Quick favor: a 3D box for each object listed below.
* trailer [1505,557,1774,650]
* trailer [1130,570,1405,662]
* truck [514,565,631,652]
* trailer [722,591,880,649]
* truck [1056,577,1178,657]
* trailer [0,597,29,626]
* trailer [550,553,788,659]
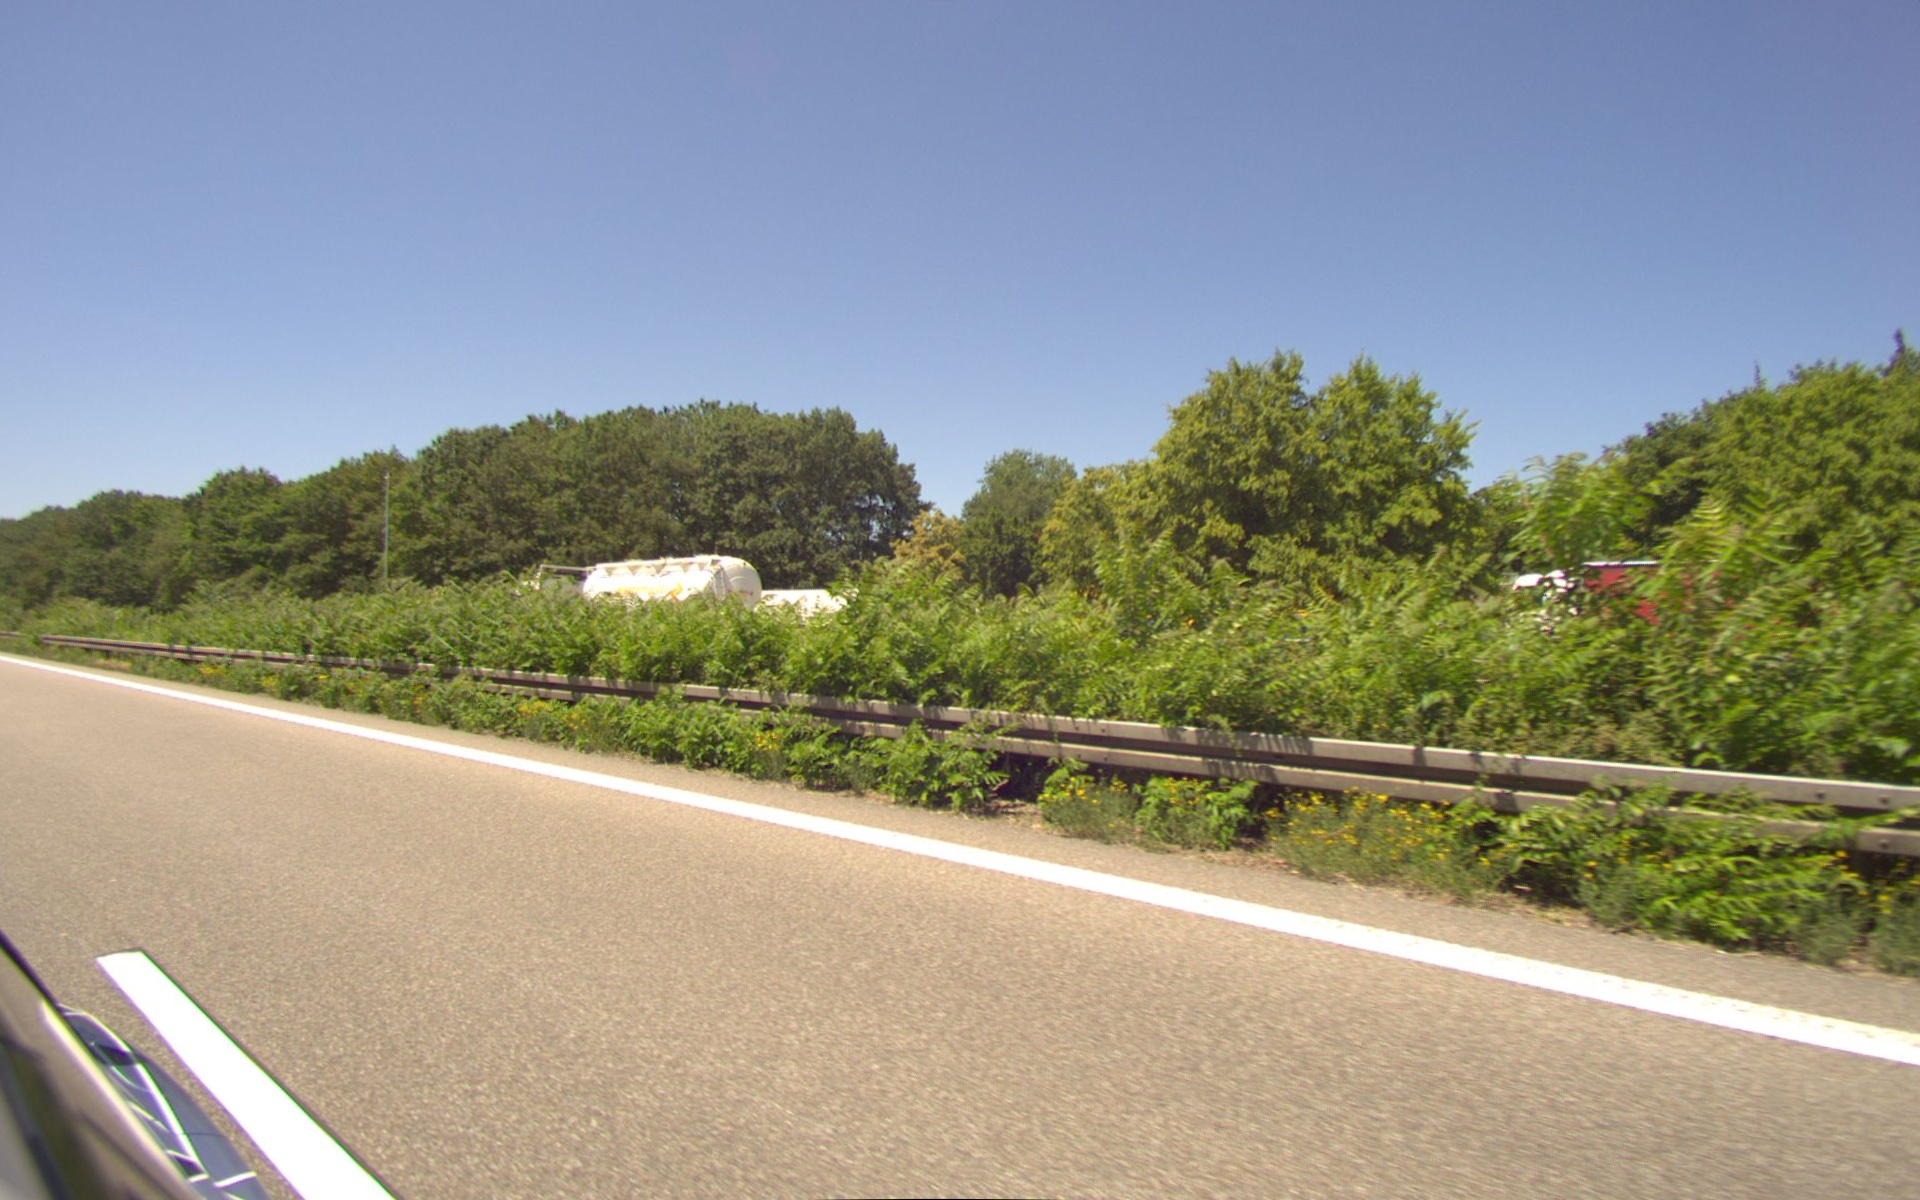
[{"bbox_3d":[26.309,0.185,39.571,8.512,3.334,2.067,-1,-1,39],"label":"trailer"},{"bbox_3d":[14.332,0.798,48.374,12.459,3.984,2.431,-1,-2,35],"label":"trailer"},{"bbox_3d":[-14.636,0.333,38.137,4.395,3.102,2.322,-1,-1,41],"label":"truck"},{"bbox_3d":[-11.800,1.488,74.134,12.553,4.001,2.592,-1,-2,30],"label":"trailer"},{"bbox_3d":[8.148,0.896,52.732,5.855,3.954,2.431,-1,-2,35],"label":"truck"},{"bbox_3d":[-122.560,1.488,129.759,13.420,3.597,2.934,-1,-1,40],"label":"trailer"},{"bbox_3d":[-10.117,0.250,34.140,10.643,3.114,2.347,-1,-1,41],"label":"trailer"}]
